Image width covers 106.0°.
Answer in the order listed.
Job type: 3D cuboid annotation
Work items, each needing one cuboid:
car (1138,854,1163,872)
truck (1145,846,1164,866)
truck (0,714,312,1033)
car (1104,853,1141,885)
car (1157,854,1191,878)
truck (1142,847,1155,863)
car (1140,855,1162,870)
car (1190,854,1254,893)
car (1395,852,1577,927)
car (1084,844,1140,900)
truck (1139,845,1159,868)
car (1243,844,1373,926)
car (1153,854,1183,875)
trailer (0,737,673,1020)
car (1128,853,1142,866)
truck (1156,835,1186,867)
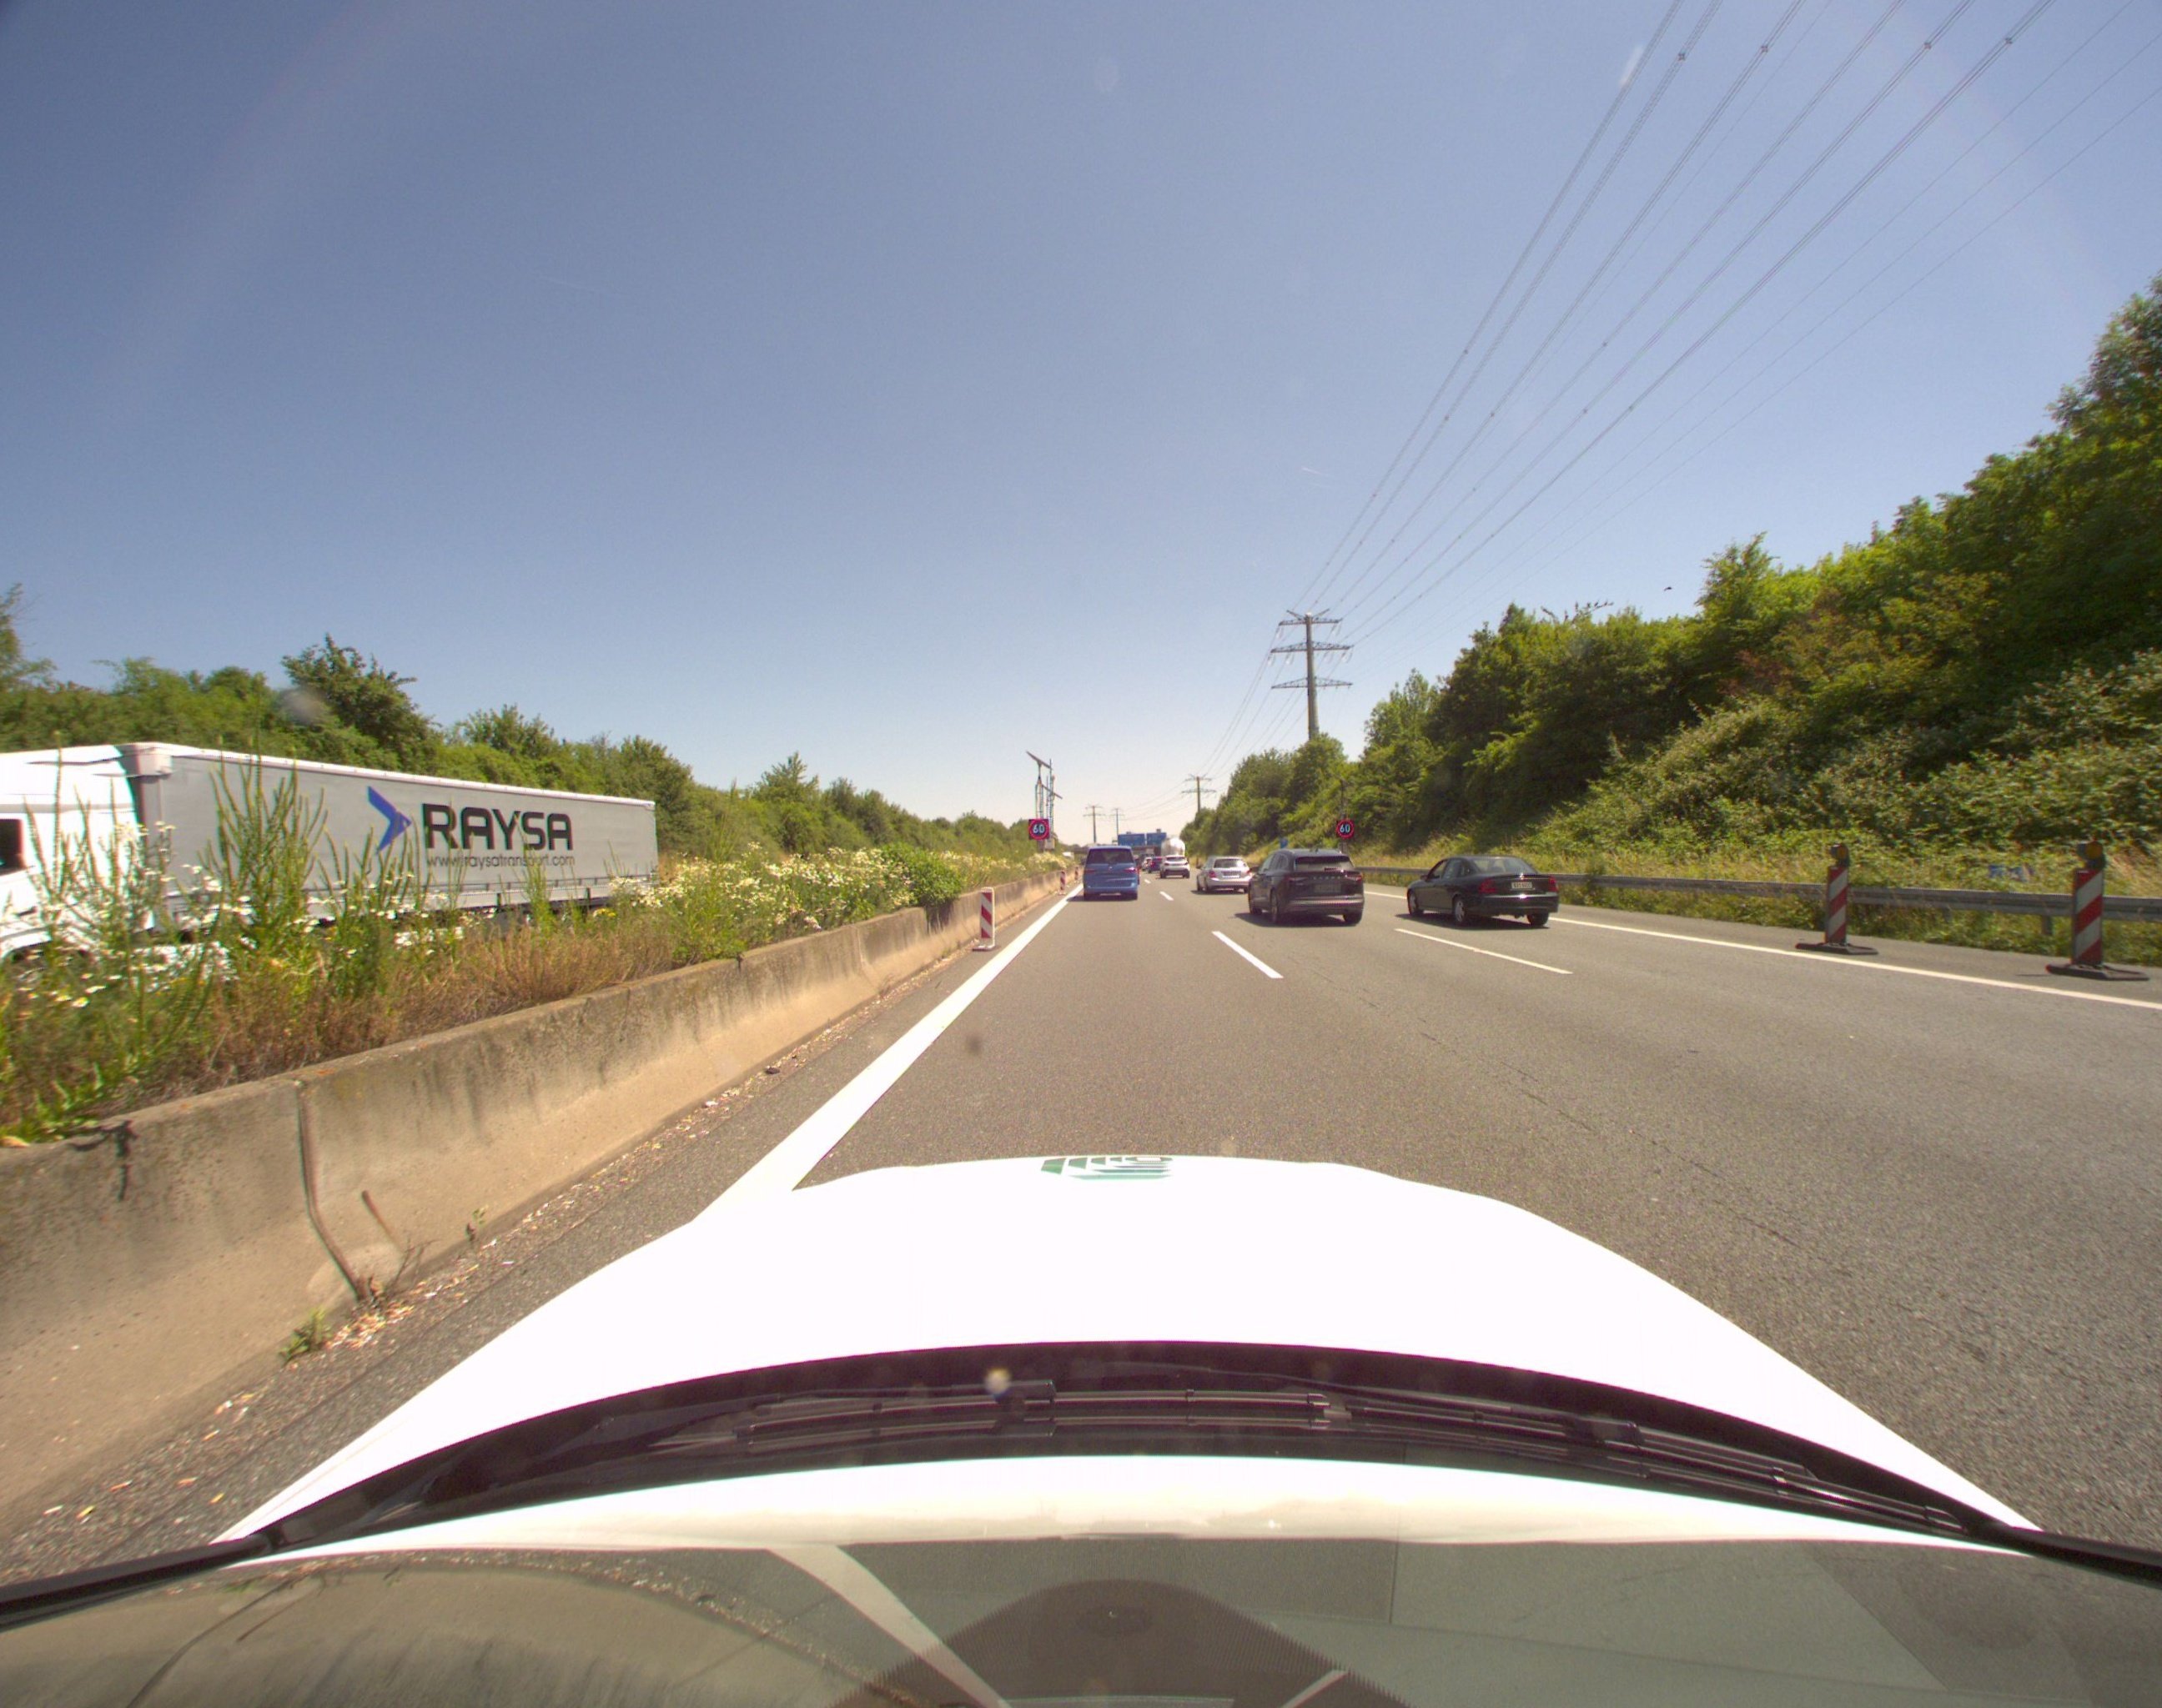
[{"bbox_3d":[6.154,0.765,72.293,1.902,1.516,4.383,0,0,0],"label":"car"},{"bbox_3d":[13.606,0.461,151.709,2.635,3.539,12.554,0,0,1],"label":"truck"},{"bbox_3d":[-15.539,0.364,11.721,3.005,4.166,5.808,-5,0,2],"label":"truck"},{"bbox_3d":[2.218,0.774,44.611,1.902,1.631,4.384,-1,0,1],"label":"car"},{"bbox_3d":[6.205,0.772,54.624,1.902,1.508,3.921,0,0,0],"label":"car"},{"bbox_3d":[18.541,0.215,225.000,2.927,4.291,12.554,0,0,1],"label":"truck"},{"bbox_3d":[7.304,0.864,85.104,1.902,1.516,4.383,0,0,0],"label":"car"},{"bbox_3d":[5.578,0.735,32.662,1.815,1.437,4.383,0,0,0],"label":"car"},{"bbox_3d":[8.311,0.662,17.195,1.729,1.378,4.302,0,0,0],"label":"car"},{"bbox_3d":[1.036,0.608,29.513,1.865,1.879,4.383,0,0,0],"label":"car"},{"bbox_3d":[8.315,0.316,99.979,1.986,2.723,5.681,0,0,1],"label":"truck"},{"bbox_3d":[5.004,0.625,18.573,1.821,1.614,4.432,-1,0,1],"label":"car"},{"bbox_3d":[6.858,0.807,64.661,1.902,1.569,4.383,0,0,0],"label":"car"},{"bbox_3d":[-15.260,0.397,19.638,3.005,4.166,14.027,-5,0,2],"label":"trailer"},{"bbox_3d":[8.397,0.843,126.080,1.986,2.014,4.001,0,0,1],"label":"car"},{"bbox_3d":[12.109,-0.327,111.454,2.635,4.072,16.444,0,0,1],"label":"truck"}]
